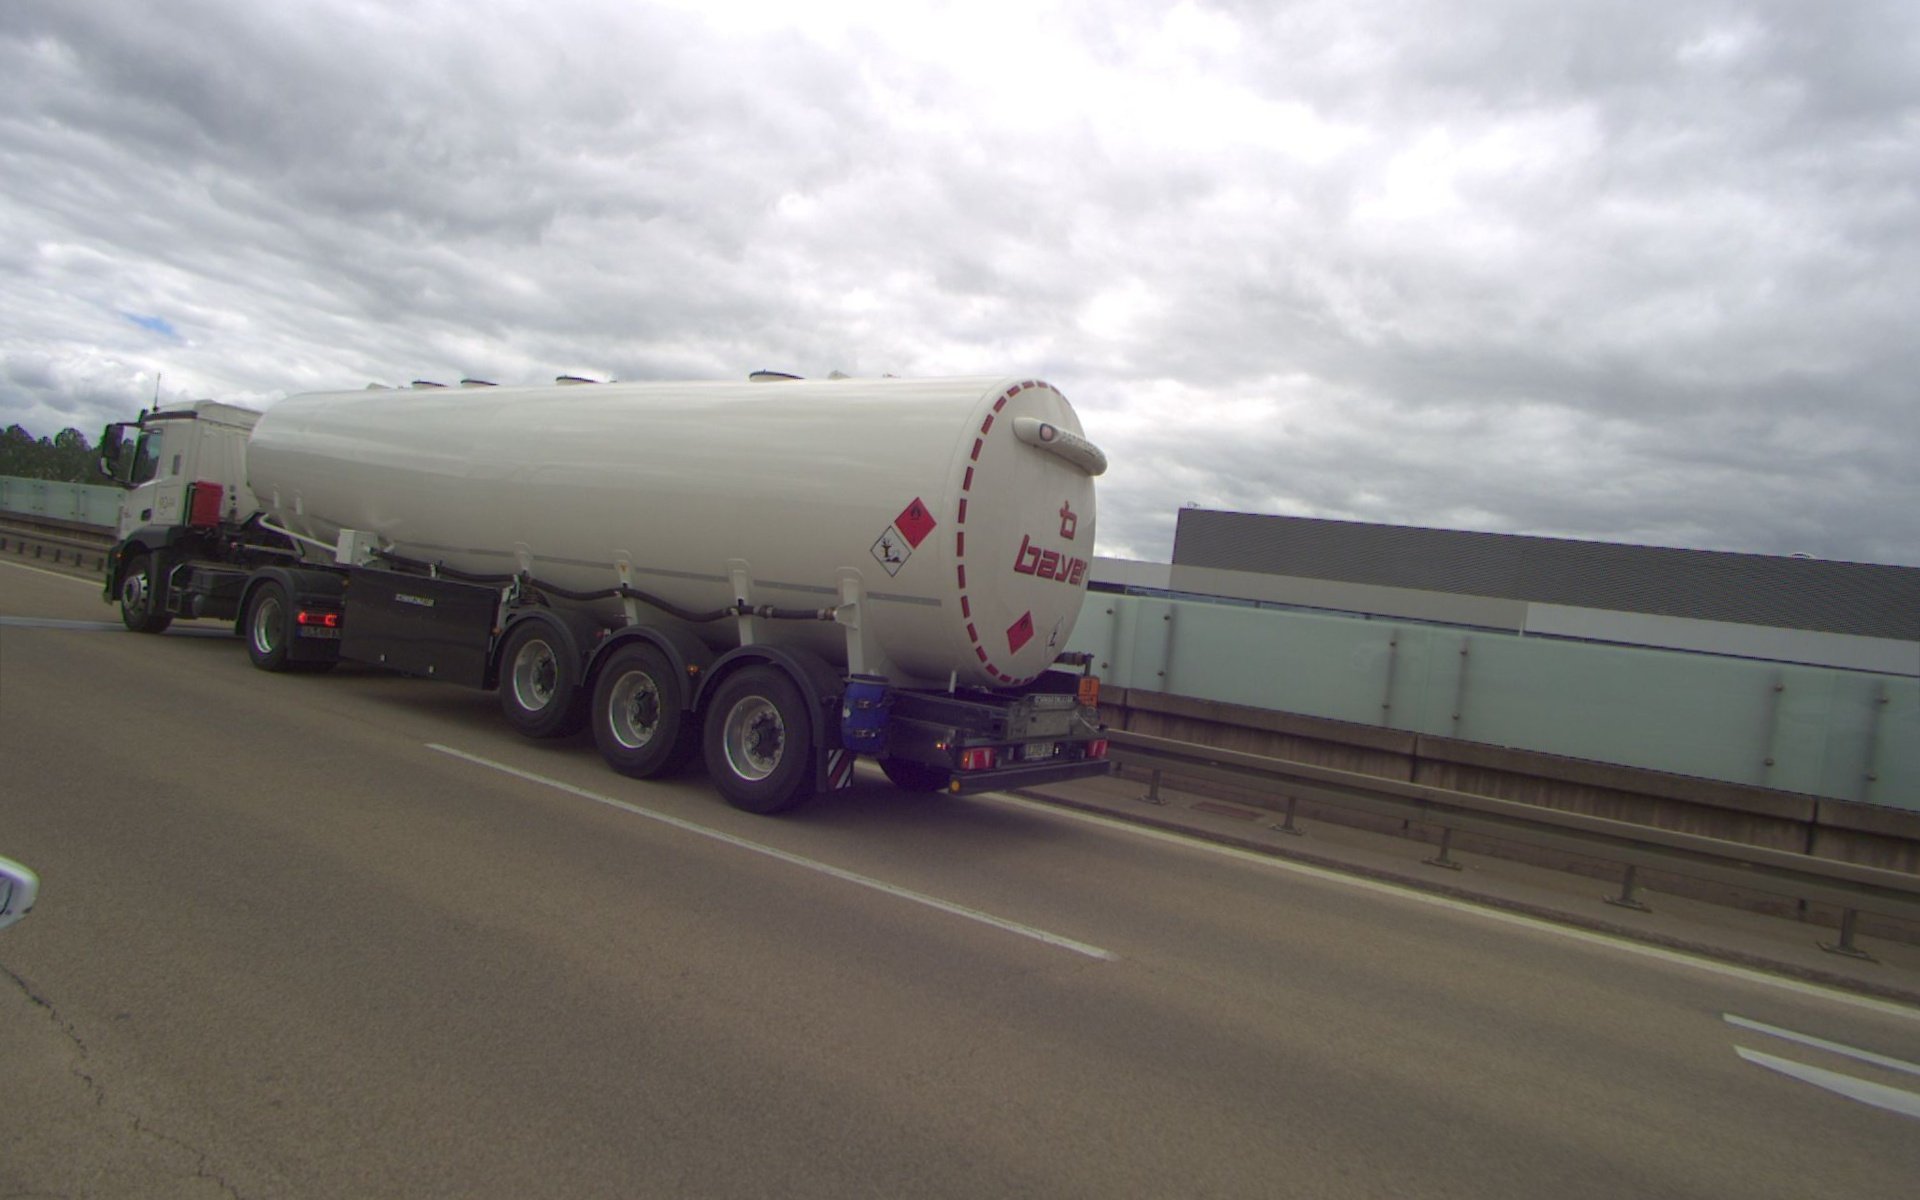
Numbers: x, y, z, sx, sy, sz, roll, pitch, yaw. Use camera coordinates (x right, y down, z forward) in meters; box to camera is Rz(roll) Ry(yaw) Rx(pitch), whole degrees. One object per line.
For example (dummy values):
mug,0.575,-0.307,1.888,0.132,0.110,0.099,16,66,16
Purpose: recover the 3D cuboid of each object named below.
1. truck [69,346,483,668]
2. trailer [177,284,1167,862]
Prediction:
truck,-9.368,-1.206,13.734,4.823,3.555,2.635,7,-1,32
trailer,-3.804,-0.559,10.239,11.035,3.585,2.655,6,-1,32
